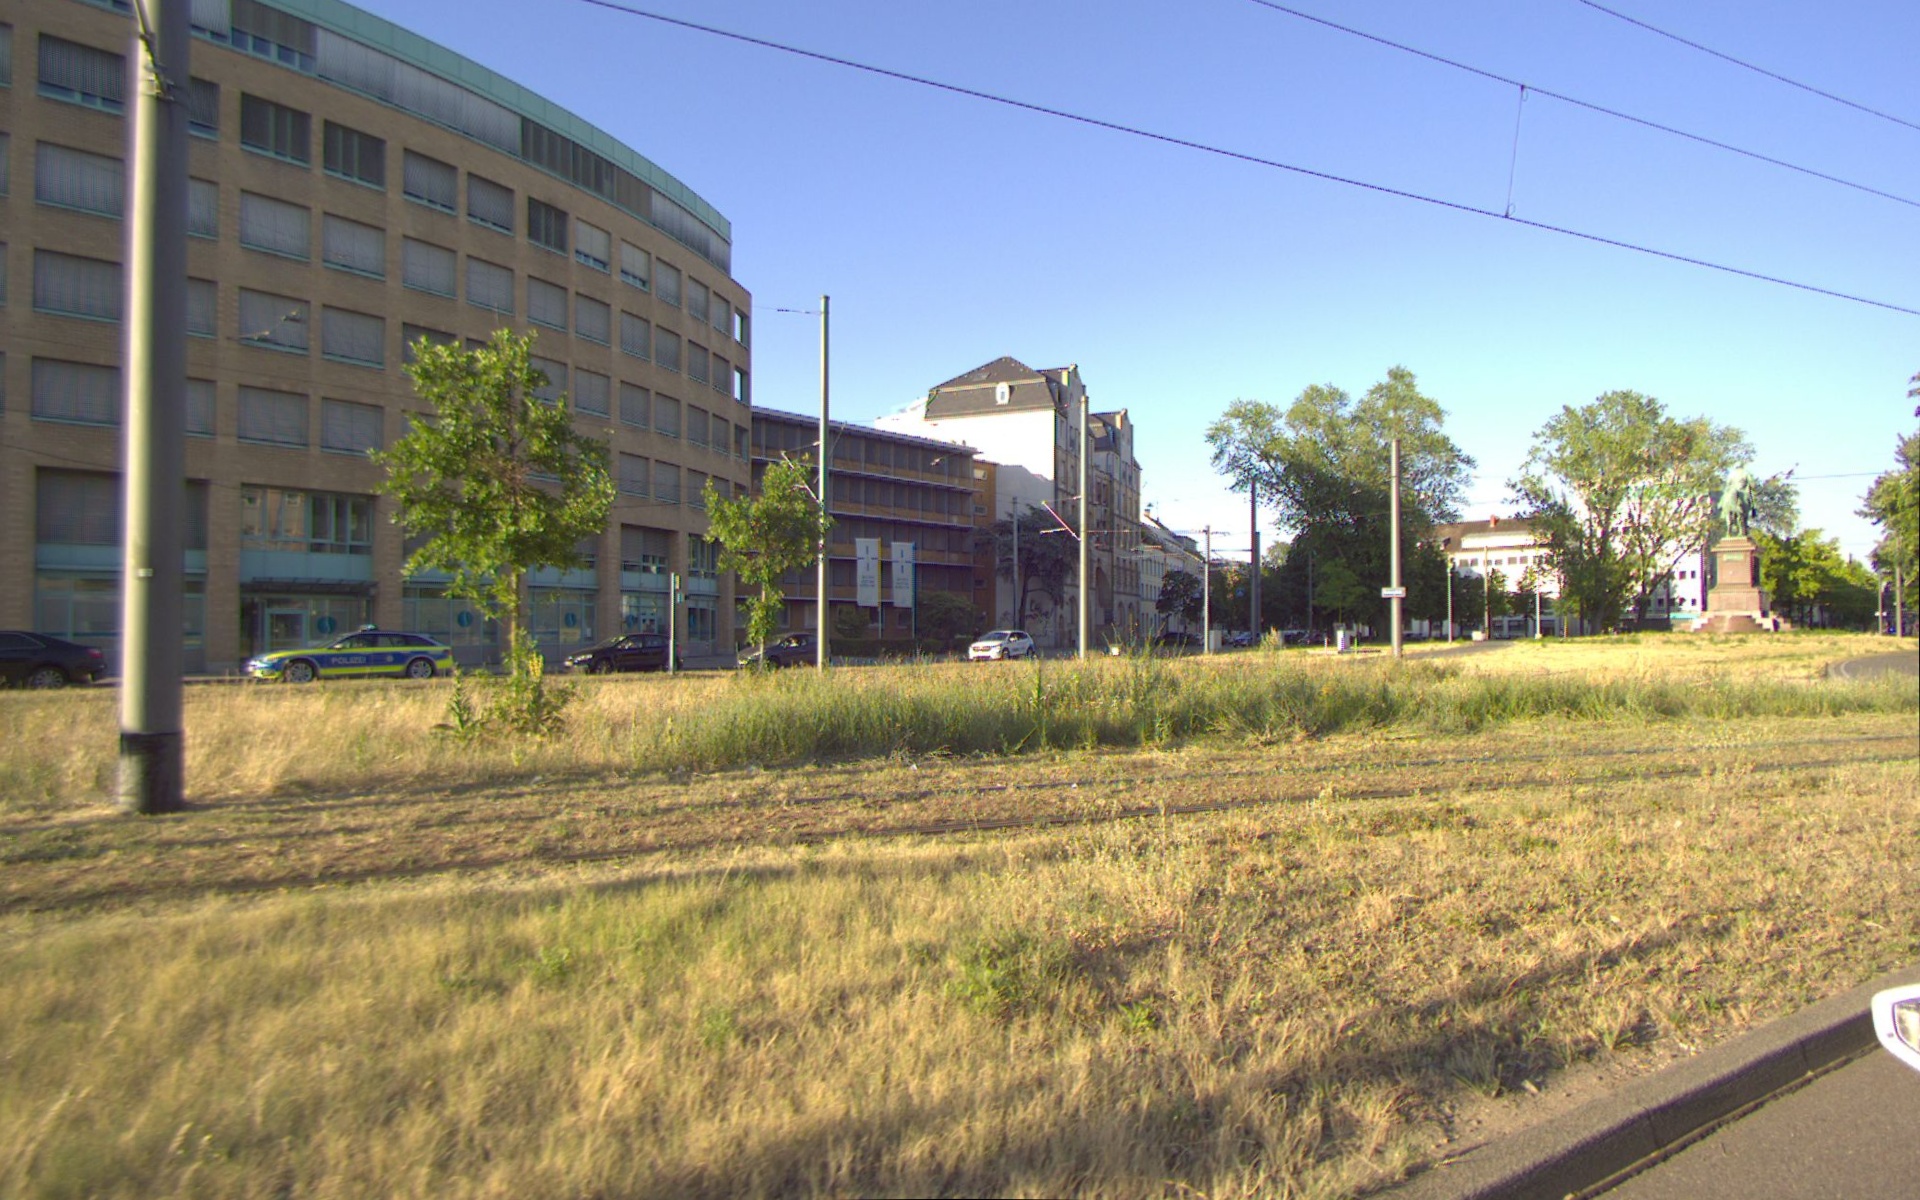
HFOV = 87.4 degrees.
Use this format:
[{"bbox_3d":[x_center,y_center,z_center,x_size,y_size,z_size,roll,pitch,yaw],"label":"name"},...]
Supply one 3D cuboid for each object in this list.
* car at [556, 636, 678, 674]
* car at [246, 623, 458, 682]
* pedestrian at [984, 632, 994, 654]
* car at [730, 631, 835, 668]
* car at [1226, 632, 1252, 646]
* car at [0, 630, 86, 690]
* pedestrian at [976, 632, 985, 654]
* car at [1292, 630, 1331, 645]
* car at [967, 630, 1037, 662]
[{"bbox_3d":[-11.342,1.791,33.359,1.504,1.169,3.578,-1,-2,43],"label":"car"},{"bbox_3d":[-16.717,1.397,27.794,4.751,1.500,1.870,1,-2,-45],"label":"car"},{"bbox_3d":[1.874,2.805,65.553,0.409,1.449,0.482,-1,-2,45],"label":"pedestrian"},{"bbox_3d":[-6.730,1.858,38.289,1.629,1.298,3.716,-1,-2,45],"label":"car"},{"bbox_3d":[25.164,3.501,90.549,1.542,1.275,3.723,-1,-2,28],"label":"car"},{"bbox_3d":[-22.069,1.327,22.405,1.707,1.299,3.765,-1,-2,44],"label":"car"},{"bbox_3d":[1.341,2.801,66.034,0.409,1.449,0.482,-1,-2,45],"label":"pedestrian"},{"bbox_3d":[33.858,3.624,96.722,3.474,1.372,1.544,1,0,-26],"label":"car"},{"bbox_3d":[2.146,2.269,50.071,1.744,1.502,4.301,-1,-2,30],"label":"car"}]
